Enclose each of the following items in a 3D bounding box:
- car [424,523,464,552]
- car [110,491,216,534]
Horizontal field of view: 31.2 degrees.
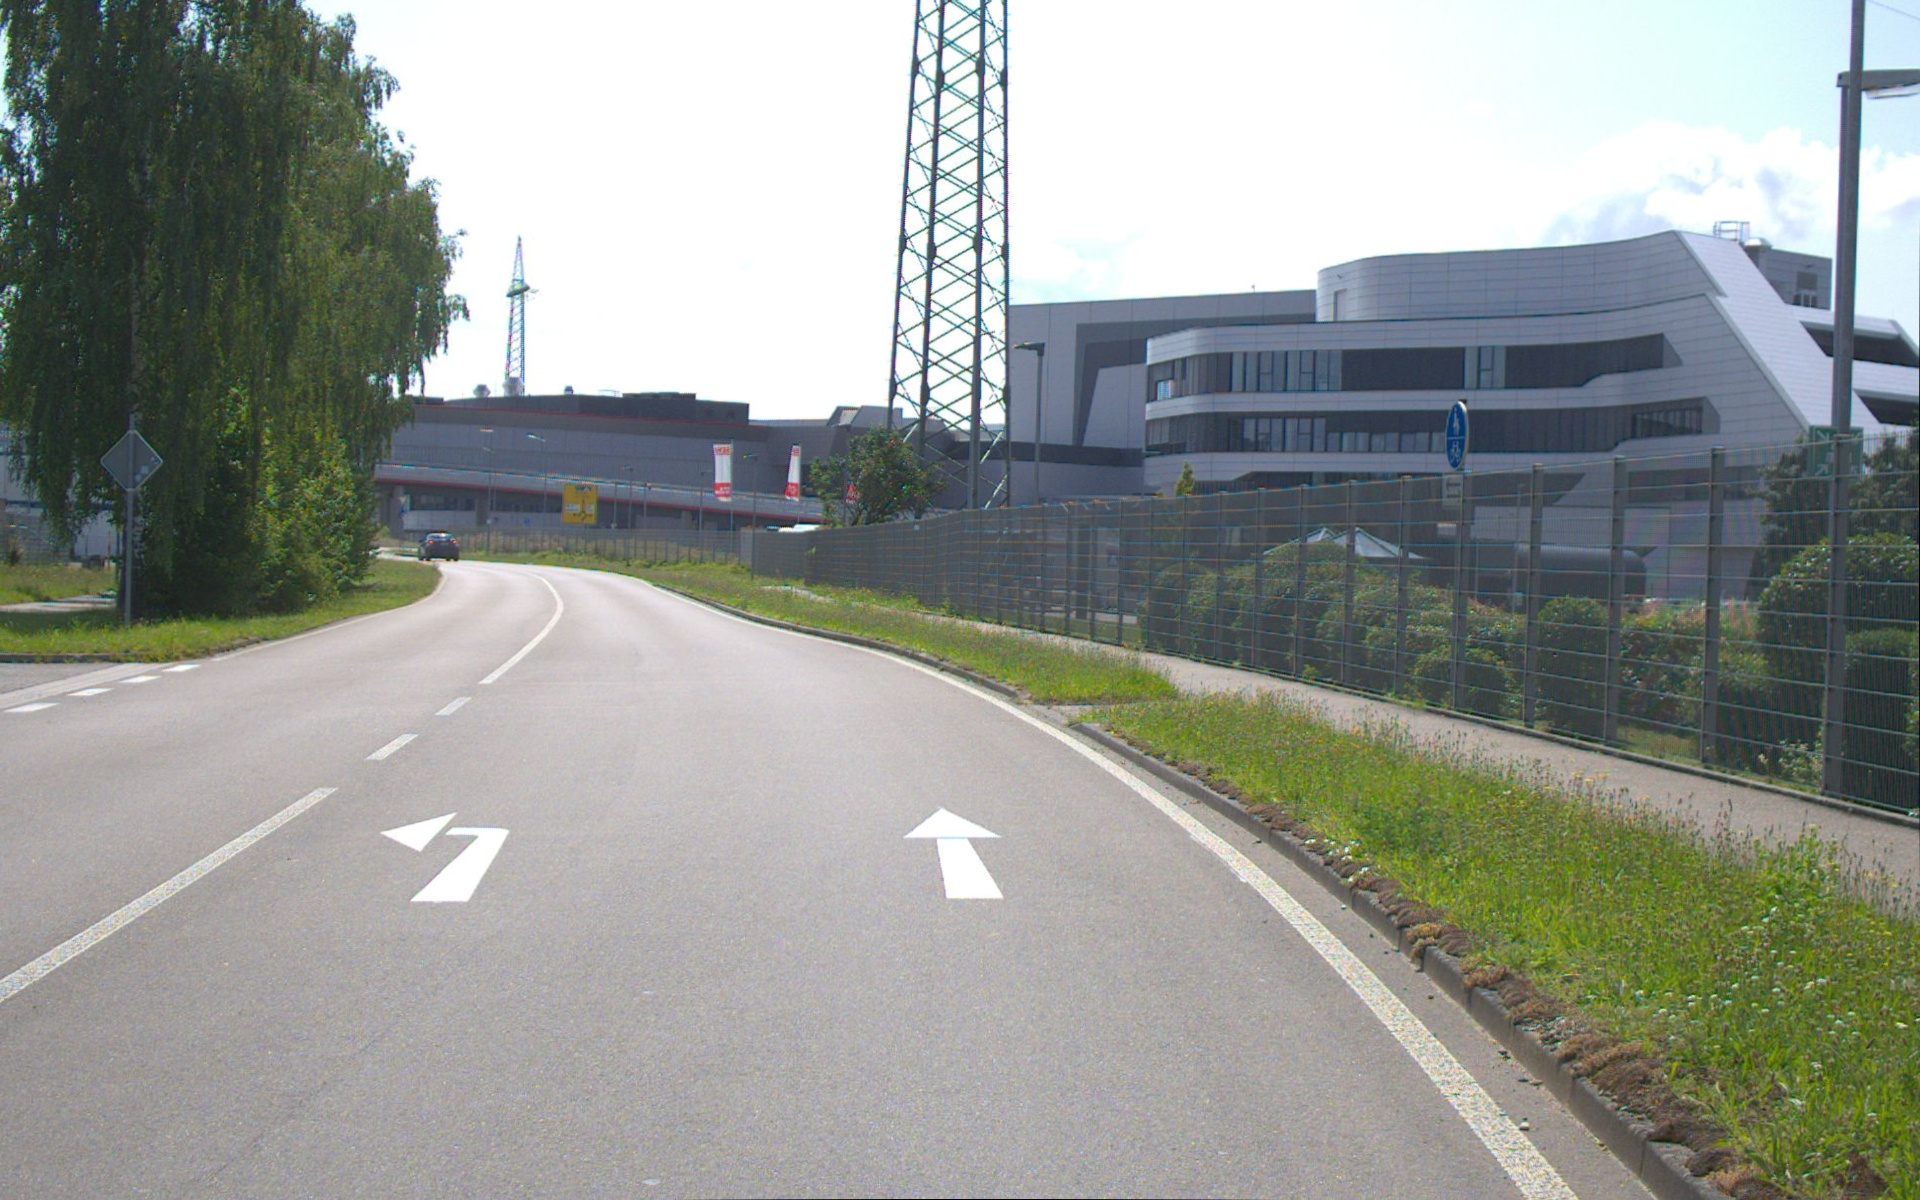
[{"bbox_3d":[-28.876,-3.479,192.264,2.011,1.503,4.001,2,1,-11],"label":"car"},{"bbox_3d":[-32.636,-3.580,140.894,3.986,1.568,2.001,2,1,-8],"label":"car"}]
